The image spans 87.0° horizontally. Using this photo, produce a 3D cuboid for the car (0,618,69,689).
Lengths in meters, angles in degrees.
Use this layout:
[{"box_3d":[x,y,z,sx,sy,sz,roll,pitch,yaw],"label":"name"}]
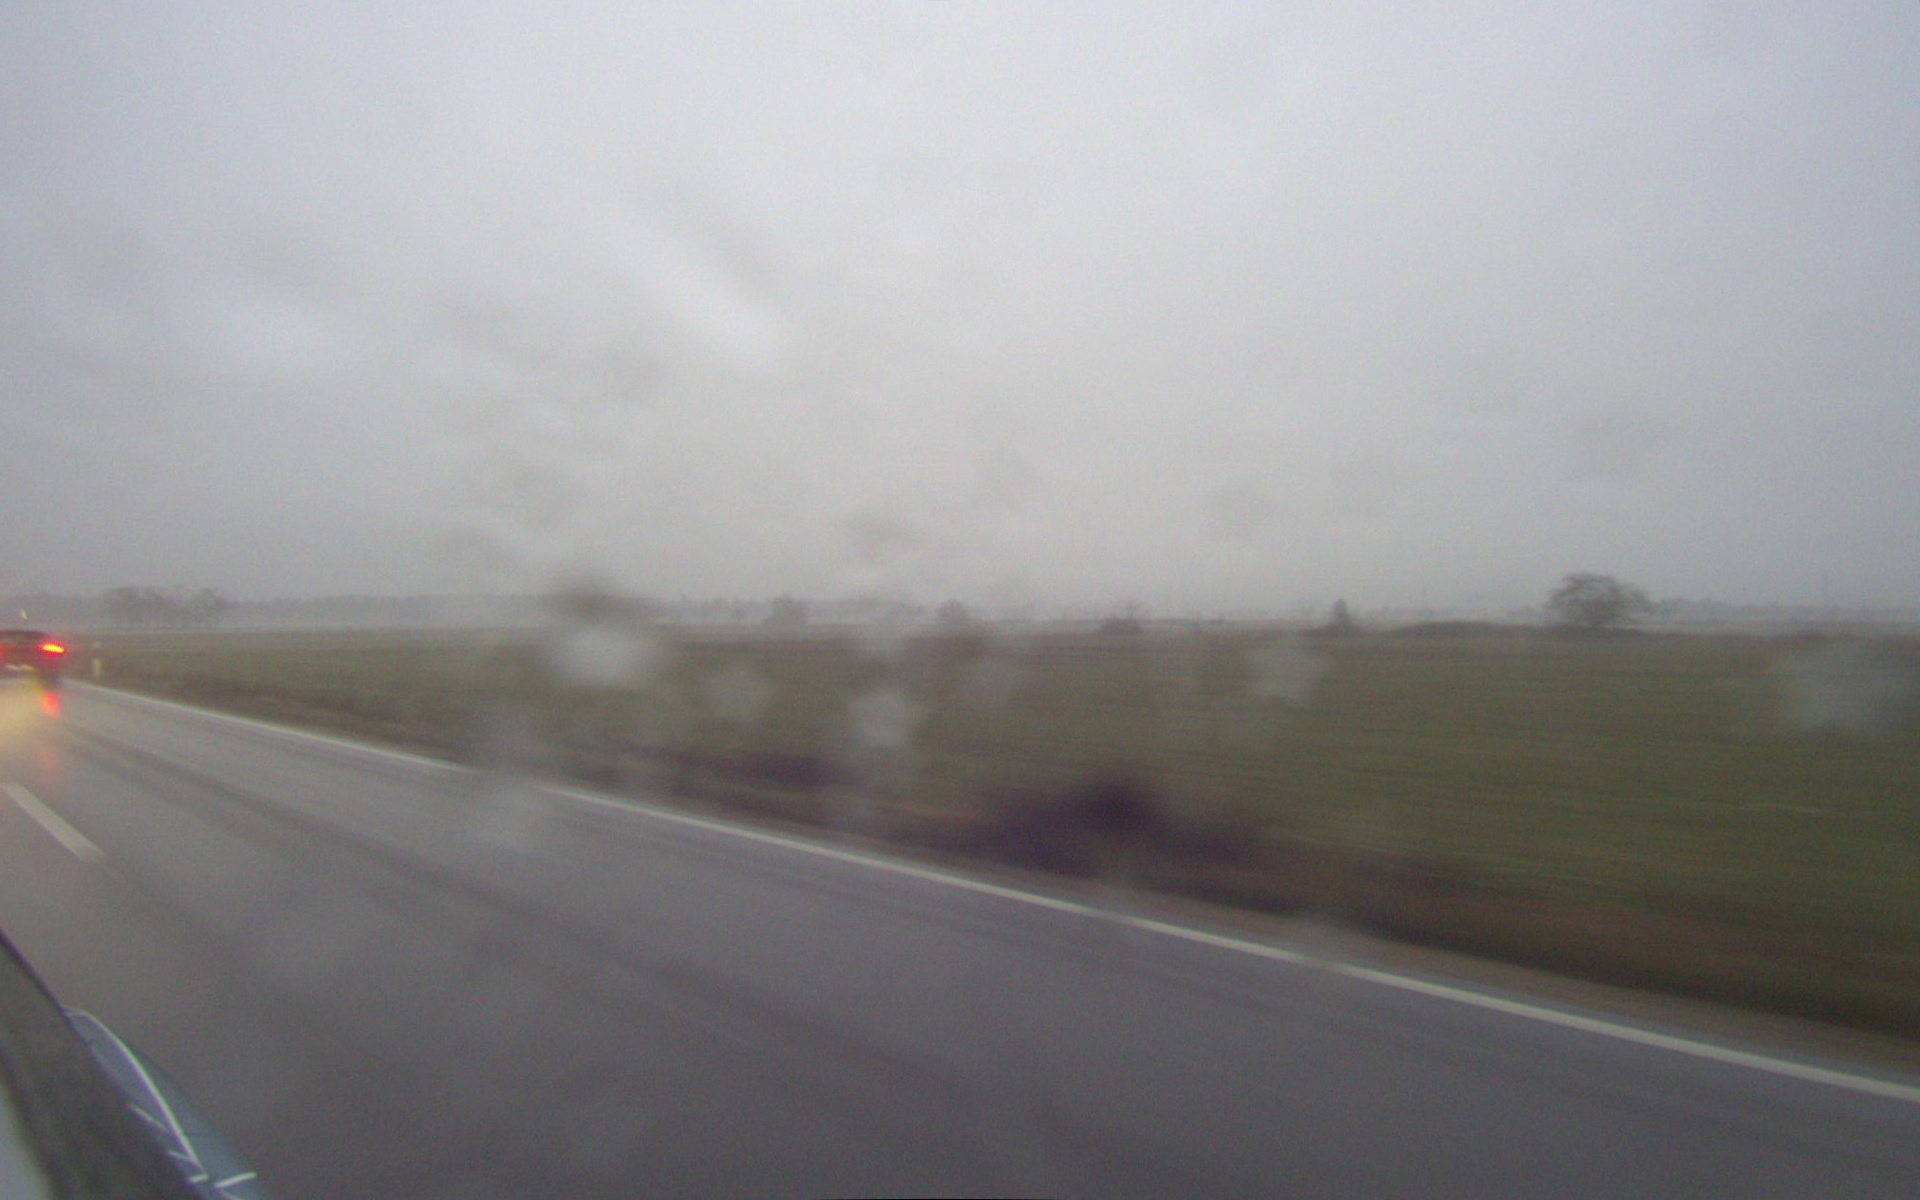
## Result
[{"box_3d":[-23.802,1.310,25.291,4.259,1.659,1.711,-1,-4,41],"label":"car"}]
